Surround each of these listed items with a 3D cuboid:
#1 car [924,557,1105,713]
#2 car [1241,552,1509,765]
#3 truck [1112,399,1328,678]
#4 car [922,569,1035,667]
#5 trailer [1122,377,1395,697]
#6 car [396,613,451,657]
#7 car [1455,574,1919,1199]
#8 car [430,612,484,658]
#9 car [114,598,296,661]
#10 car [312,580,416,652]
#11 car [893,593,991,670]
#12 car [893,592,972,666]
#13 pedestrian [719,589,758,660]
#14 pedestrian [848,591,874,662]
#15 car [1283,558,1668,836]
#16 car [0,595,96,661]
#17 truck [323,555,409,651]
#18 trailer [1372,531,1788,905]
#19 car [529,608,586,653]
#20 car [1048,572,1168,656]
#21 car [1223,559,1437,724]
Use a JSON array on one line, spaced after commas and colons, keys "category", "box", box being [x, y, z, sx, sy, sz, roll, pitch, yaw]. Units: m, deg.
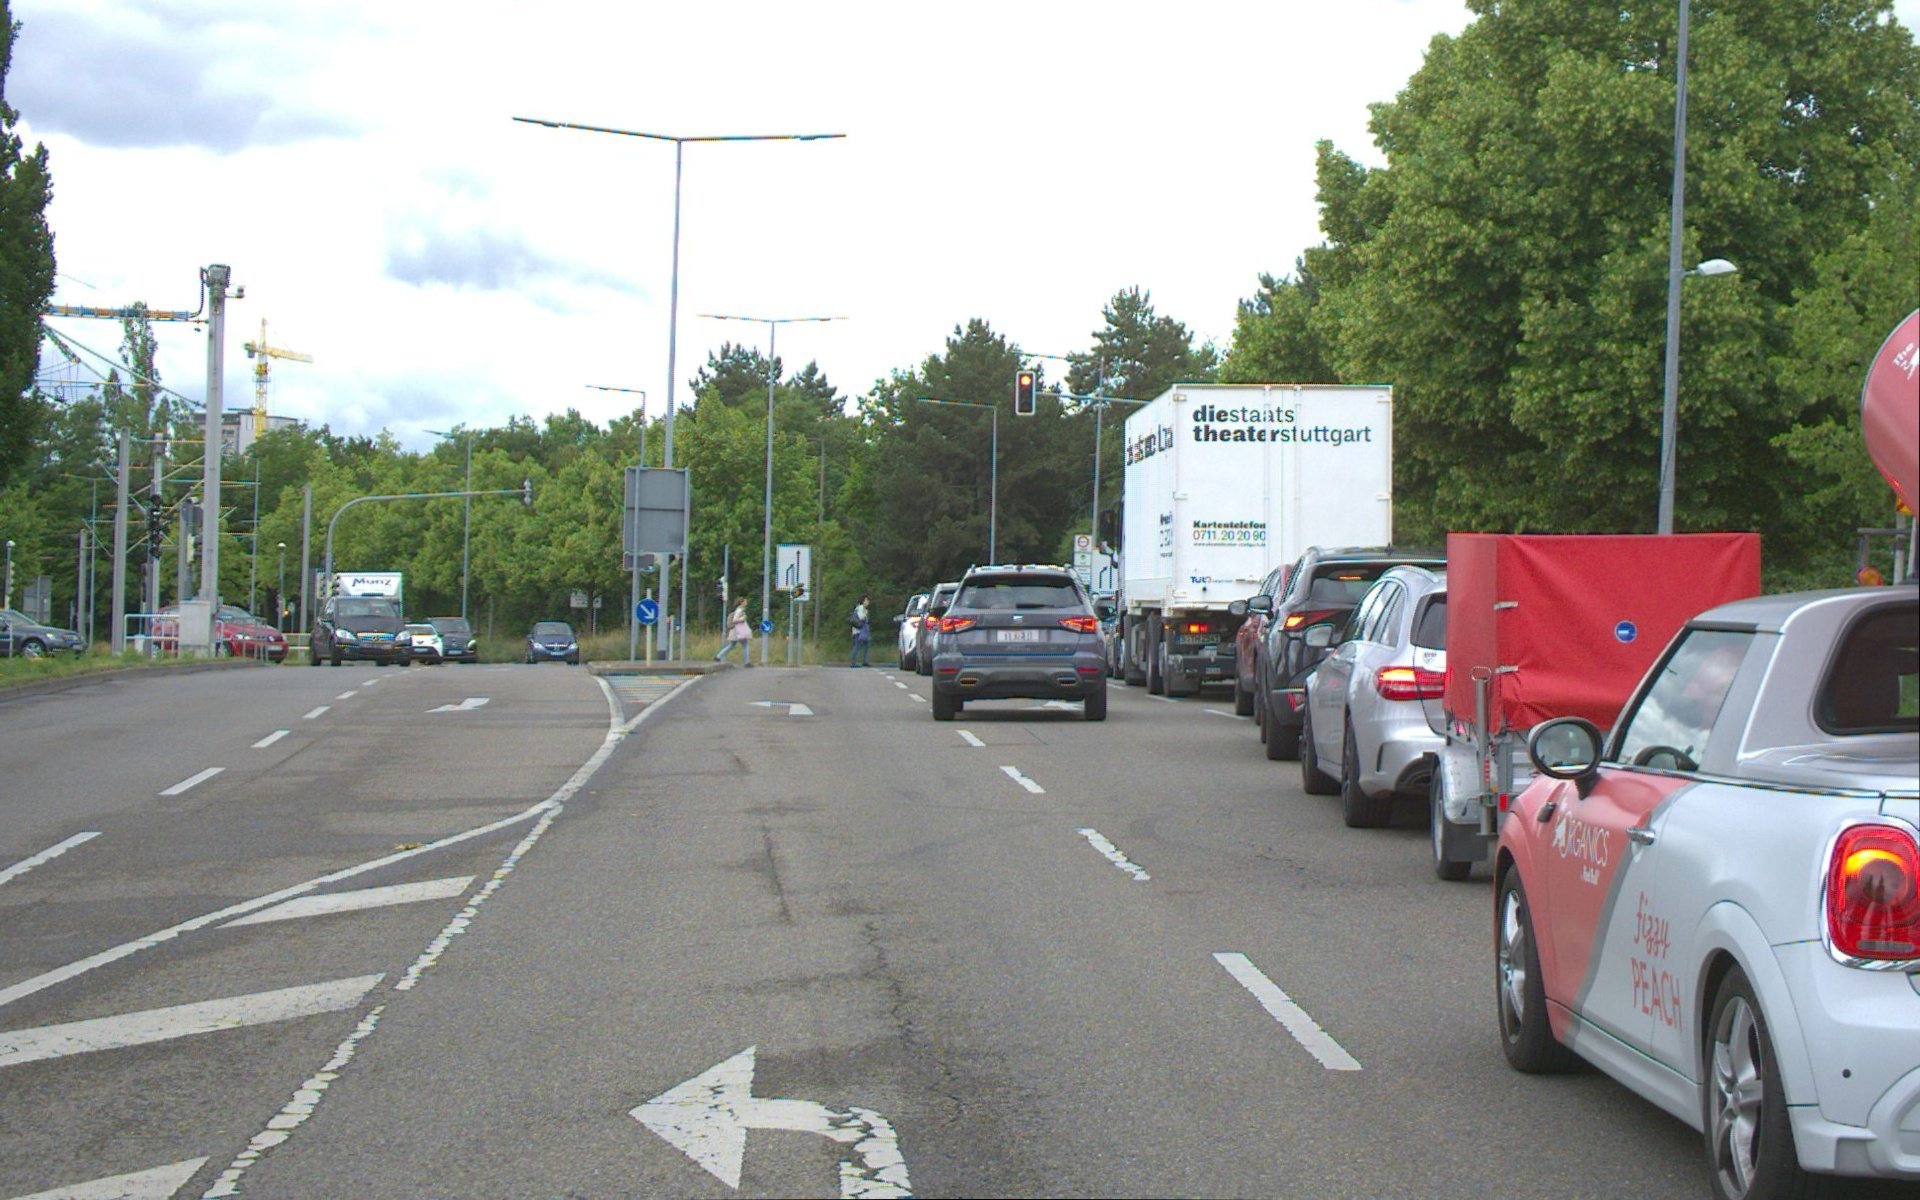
[{"category": "car", "box": [0.498, 0.348, 34.782, 1.698, 1.481, 4.000, 0, 0, -1]}, {"category": "car", "box": [3.207, 0.406, 27.309, 1.845, 1.556, 4.404, 0, 1, 3]}, {"category": "truck", "box": [3.531, -0.862, 47.624, 2.571, 3.693, 4.106, 0, 1, -1]}, {"category": "car", "box": [0.286, 0.275, 56.855, 1.799, 1.518, 4.188, 0, 1, 0]}, {"category": "trailer", "box": [3.640, -0.784, 43.667, 2.565, 3.693, 7.765, 0, 1, -2]}, {"category": "car", "box": [-19.932, 1.291, 127.836, 1.775, 1.503, 3.747, 0, 1, -5]}, {"category": "car", "box": [2.427, 0.669, 8.656, 1.718, 1.452, 3.697, 0, 0, -2]}, {"category": "car", "box": [-19.828, 1.372, 135.709, 1.915, 1.722, 4.001, 0, 1, -6]}, {"category": "car", "box": [-18.750, 0.721, 85.442, 4.074, 1.483, 1.708, 1, 0, 6]}, {"category": "car", "box": [-13.374, 0.362, 77.012, 1.725, 1.568, 3.708, 0, -1, -19]}, {"category": "car", "box": [-0.373, 0.614, 65.873, 1.721, 1.417, 4.357, 0, -1, -2]}, {"category": "car", "box": [-0.585, 0.602, 71.182, 1.535, 1.499, 2.670, 0, -1, -2]}, {"category": "pedestrian", "box": [-4.947, 0.536, 76.714, 0.863, 1.555, 0.518, 0, 2, -4]}, {"category": "pedestrian", "box": [-2.274, 0.609, 78.818, 0.586, 1.616, 0.423, 0, 2, -4]}, {"category": "car", "box": [2.904, 0.489, 20.212, 1.671, 1.442, 4.489, 0, 0, 1]}, {"category": "car", "box": [-24.490, 0.707, 88.361, 3.988, 1.590, 2.000, 1, 2, 7]}, {"category": "truck", "box": [-23.759, 0.053, 137.114, 2.659, 3.636, 9.505, 0, 1, -14]}, {"category": "trailer", "box": [2.842, 0.480, 16.314, 1.409, 1.588, 3.303, 0, 1, 1]}, {"category": "car", "box": [-15.176, 1.138, 129.587, 1.915, 1.571, 4.001, 0, 1, -10]}, {"category": "car", "box": [2.569, 0.239, 60.577, 1.825, 1.430, 4.213, 0, 0, -1]}, {"category": "car", "box": [3.586, 0.382, 33.970, 1.707, 1.519, 4.319, 0, 0, 1]}]
